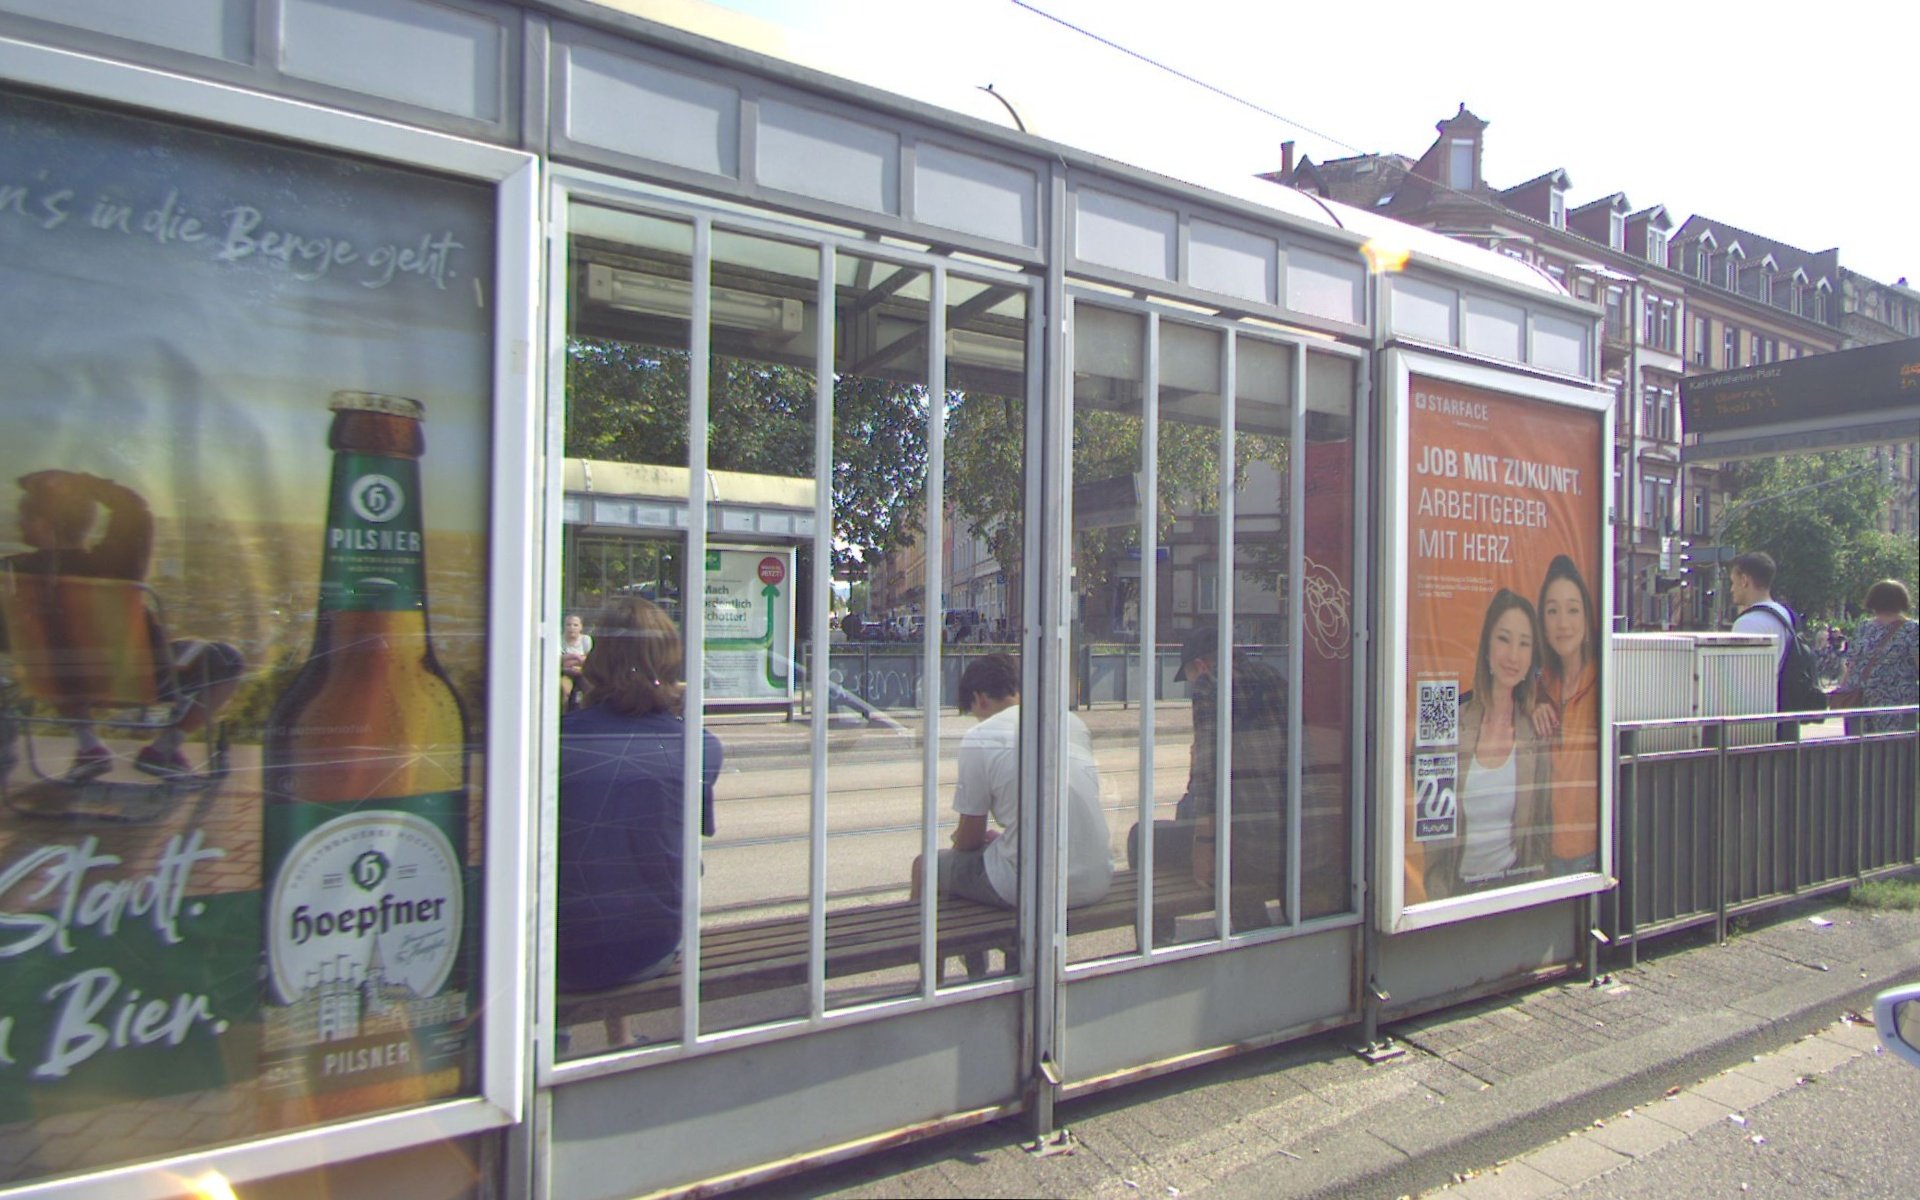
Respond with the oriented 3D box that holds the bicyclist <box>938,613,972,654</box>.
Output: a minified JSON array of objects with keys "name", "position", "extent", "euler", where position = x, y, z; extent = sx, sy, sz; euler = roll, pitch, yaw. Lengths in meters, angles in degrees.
[{"name":"bicyclist","position":[-0.176,1.206,36.348],"extent":[1.062,1.460,0.655],"euler":[0,-1,35]}]

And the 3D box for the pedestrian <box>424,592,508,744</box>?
[{"name":"pedestrian","position":[-5.026,0.671,10.219],"extent":[0.709,1.475,0.674],"euler":[1,-1,-28]}]

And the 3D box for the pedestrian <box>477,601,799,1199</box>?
[{"name":"pedestrian","position":[-0.811,0.692,2.457],"extent":[0.615,1.357,0.683],"euler":[1,-1,-29]}]

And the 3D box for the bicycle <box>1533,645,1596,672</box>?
[{"name":"bicycle","position":[20.989,2.021,34.888],"extent":[1.791,0.871,0.528],"euler":[1,-1,10]}]

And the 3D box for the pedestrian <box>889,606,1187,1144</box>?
[{"name":"pedestrian","position":[0.217,0.726,3.078],"extent":[0.615,1.396,0.704],"euler":[1,-1,-29]}]

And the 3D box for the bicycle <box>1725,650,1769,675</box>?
[{"name":"bicycle","position":[27.895,2.206,35.598],"extent":[1.804,0.871,0.524],"euler":[1,-1,-26]}]

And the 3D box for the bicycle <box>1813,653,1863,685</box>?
[{"name":"bicycle","position":[29.748,2.321,34.019],"extent":[2.125,1.020,0.615],"euler":[2,-1,-30]}]

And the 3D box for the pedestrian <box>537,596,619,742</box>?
[{"name":"pedestrian","position":[-4.079,0.714,10.711],"extent":[0.709,1.475,0.789],"euler":[1,-1,-28]}]

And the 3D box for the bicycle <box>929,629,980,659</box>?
[{"name":"bicycle","position":[-0.201,1.592,36.355],"extent":[1.760,1.028,0.655],"euler":[0,-1,35]}]

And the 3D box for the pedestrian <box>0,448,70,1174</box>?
[{"name":"pedestrian","position":[-2.595,0.511,2.345],"extent":[0.599,1.744,0.587],"euler":[1,-1,-27]}]

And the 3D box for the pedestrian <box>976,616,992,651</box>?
[{"name":"pedestrian","position":[1.244,1.714,51.517],"extent":[0.721,1.789,0.858],"euler":[1,-1,-4]}]

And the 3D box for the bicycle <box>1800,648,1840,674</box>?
[{"name":"bicycle","position":[32.066,2.257,37.438],"extent":[1.680,0.940,0.524],"euler":[1,-1,-26]}]

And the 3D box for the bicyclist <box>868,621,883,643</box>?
[{"name":"bicyclist","position":[-6.068,2.276,72.195],"extent":[0.979,1.531,1.113],"euler":[2,0,-6]}]

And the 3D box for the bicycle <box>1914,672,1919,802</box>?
[{"name":"bicycle","position":[9.153,1.200,8.796],"extent":[1.711,1.118,0.472],"euler":[1,-1,-21]}]

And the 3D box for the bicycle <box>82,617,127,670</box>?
[{"name":"bicycle","position":[-23.388,1.165,27.476],"extent":[0.861,1.389,2.276],"euler":[2,-1,-40]}]

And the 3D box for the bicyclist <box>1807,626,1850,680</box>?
[{"name":"bicyclist","position":[26.881,1.621,31.091],"extent":[1.031,1.635,0.671],"euler":[1,-1,-27]}]

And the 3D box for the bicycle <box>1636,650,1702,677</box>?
[{"name":"bicycle","position":[24.336,2.178,34.487],"extent":[1.791,0.871,0.528],"euler":[1,-1,10]}]

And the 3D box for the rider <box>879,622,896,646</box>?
[{"name":"rider","position":[-4.674,2.192,64.654],"extent":[0.979,1.531,1.113],"euler":[2,0,-6]}]

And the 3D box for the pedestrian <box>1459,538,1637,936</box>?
[{"name":"pedestrian","position":[2.845,0.620,4.876],"extent":[0.527,1.784,0.549],"euler":[1,-1,-30]}]

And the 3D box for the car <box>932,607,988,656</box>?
[{"name":"car","position":[-0.063,1.377,44.895],"extent":[2.041,2.043,4.588],"euler":[1,-1,-6]}]

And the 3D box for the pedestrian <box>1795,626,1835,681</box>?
[{"name":"pedestrian","position":[29.217,1.830,34.318],"extent":[1.080,1.830,0.724],"euler":[2,-1,-30]}]

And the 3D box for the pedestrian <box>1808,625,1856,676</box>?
[{"name":"pedestrian","position":[31.351,1.811,36.119],"extent":[1.170,1.789,0.902],"euler":[1,-1,-25]}]

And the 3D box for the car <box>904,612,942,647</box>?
[{"name":"car","position":[-2.363,1.815,62.305],"extent":[2.041,2.043,4.588],"euler":[1,-1,-6]}]

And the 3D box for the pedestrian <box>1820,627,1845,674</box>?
[{"name":"pedestrian","position":[32.624,1.884,37.564],"extent":[0.629,1.700,0.631],"euler":[2,-1,-41]}]

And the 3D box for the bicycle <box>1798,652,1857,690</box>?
[{"name":"bicycle","position":[26.813,2.171,31.046],"extent":[2.042,1.118,0.682],"euler":[2,-1,-27]}]

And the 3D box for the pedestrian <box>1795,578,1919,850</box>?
[{"name":"pedestrian","position":[6.447,0.757,7.014],"extent":[0.672,1.784,0.764],"euler":[1,-1,-30]}]

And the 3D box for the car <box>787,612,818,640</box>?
[{"name":"car","position":[-12.042,1.959,76.834],"extent":[2.041,2.043,4.588],"euler":[1,-1,-6]}]

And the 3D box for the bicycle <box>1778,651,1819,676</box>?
[{"name":"bicycle","position":[30.594,2.305,36.640],"extent":[1.680,0.871,0.524],"euler":[1,-1,-26]}]

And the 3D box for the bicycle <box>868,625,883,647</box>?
[{"name":"bicycle","position":[-6.105,2.579,72.232],"extent":[0.979,1.474,2.881],"euler":[2,0,-6]}]

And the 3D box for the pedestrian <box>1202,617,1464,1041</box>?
[{"name":"pedestrian","position":[1.384,0.768,3.777],"extent":[0.615,1.396,0.683],"euler":[1,-1,-29]}]

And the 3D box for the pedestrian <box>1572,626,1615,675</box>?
[{"name":"pedestrian","position":[21.361,1.684,33.870],"extent":[0.926,1.591,0.842],"euler":[1,-1,5]}]

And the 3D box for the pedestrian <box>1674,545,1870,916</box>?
[{"name":"pedestrian","position":[4.366,0.655,5.408],"extent":[0.721,1.830,0.601],"euler":[1,-1,-30]}]
